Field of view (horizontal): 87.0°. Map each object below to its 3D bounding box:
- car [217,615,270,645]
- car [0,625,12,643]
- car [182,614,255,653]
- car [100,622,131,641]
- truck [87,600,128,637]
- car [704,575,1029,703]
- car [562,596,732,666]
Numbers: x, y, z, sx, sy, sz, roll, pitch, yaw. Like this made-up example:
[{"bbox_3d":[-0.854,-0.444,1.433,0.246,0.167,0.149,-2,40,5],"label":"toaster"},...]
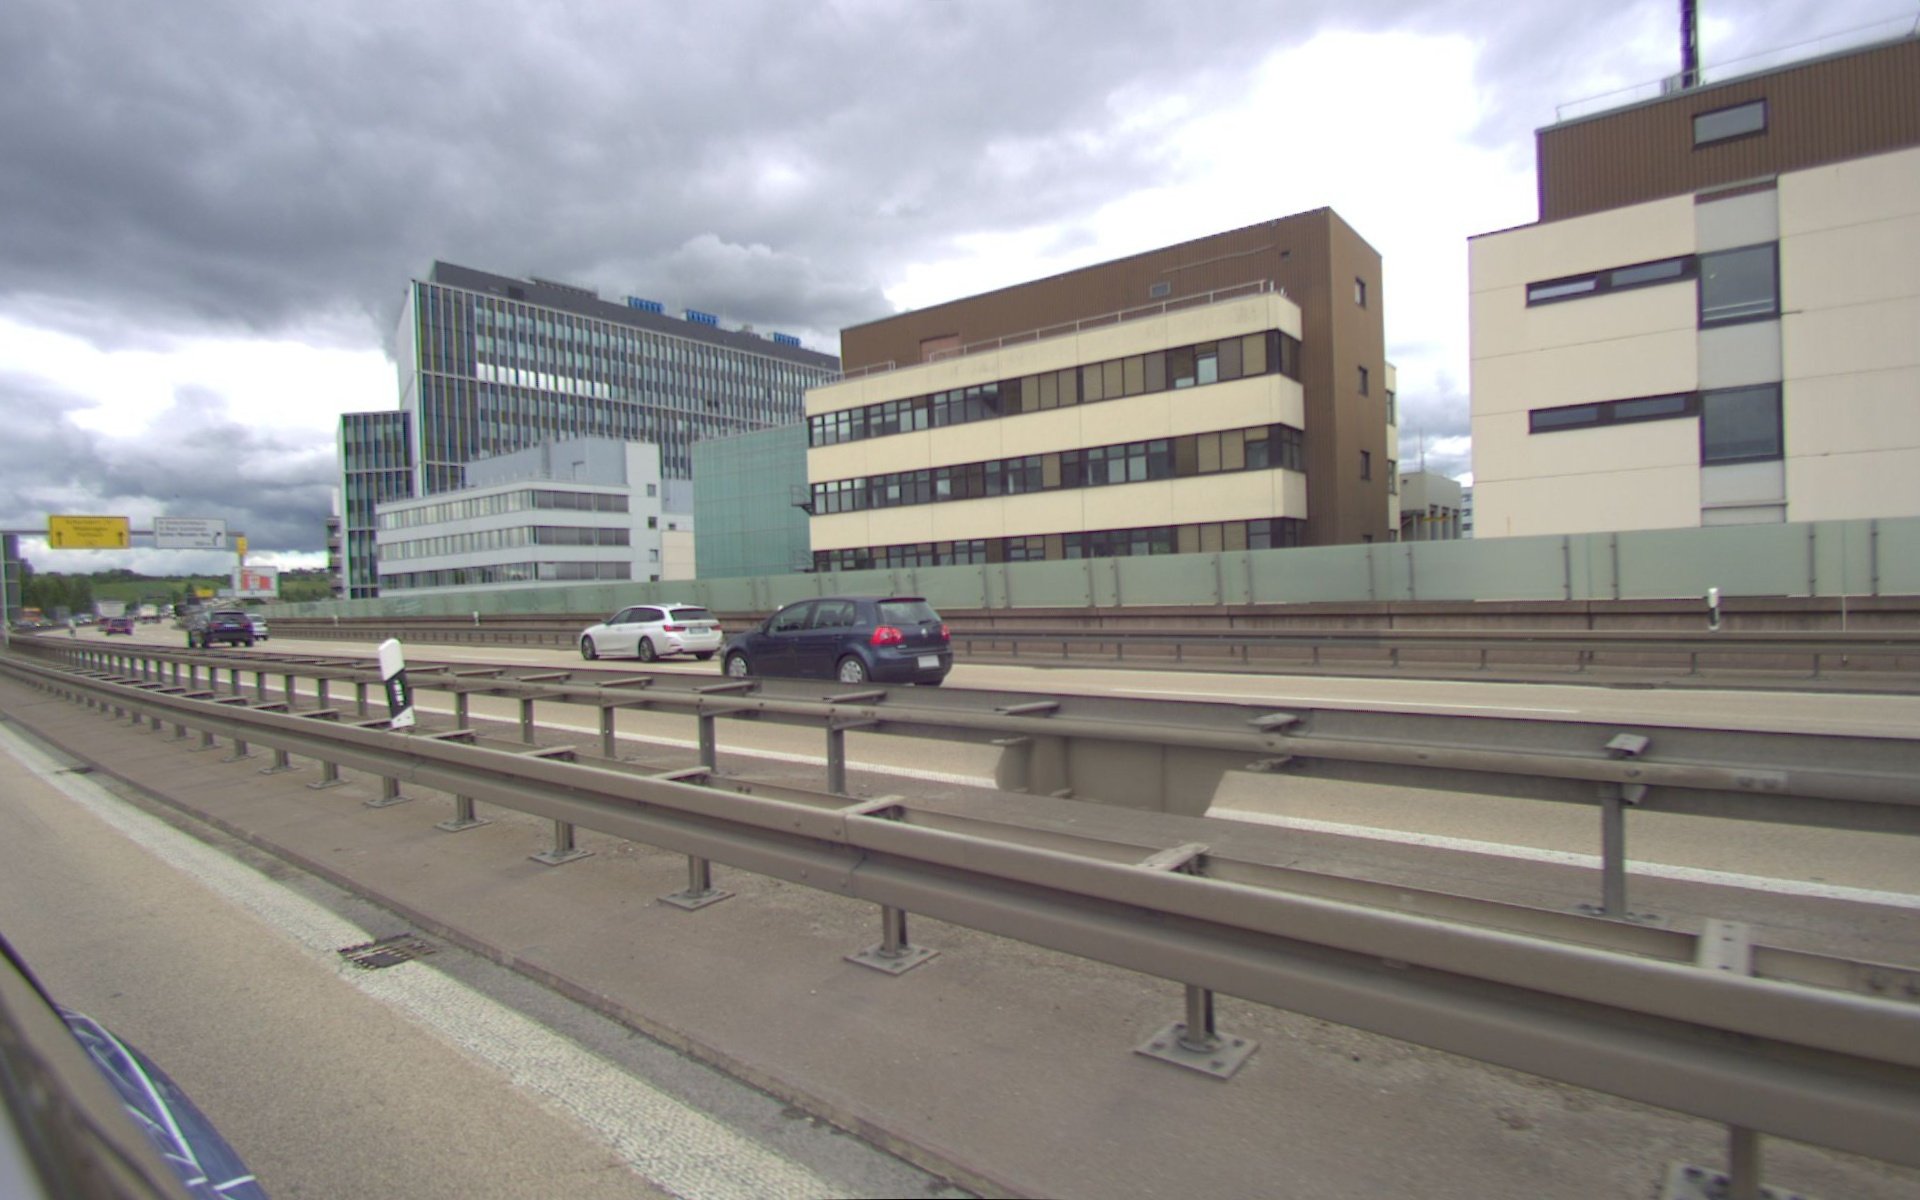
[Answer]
[{"bbox_3d":[-40.223,1.697,56.781,3.684,1.609,1.665,-2,-1,42],"label":"car"},{"bbox_3d":[-113.505,4.017,119.579,1.968,2.029,4.007,-1,0,-40],"label":"car"},{"bbox_3d":[-33.091,1.483,45.105,4.813,1.631,1.735,-2,-1,42],"label":"car"},{"bbox_3d":[-69.926,2.621,83.753,1.733,1.494,4.095,0,-1,-43],"label":"car"},{"bbox_3d":[-95.999,2.114,113.869,3.222,3.887,13.071,-2,0,-41],"label":"truck"},{"bbox_3d":[-1.522,0.548,15.183,4.808,1.623,2.003,-2,-1,38],"label":"car"},{"bbox_3d":[-8.097,0.771,25.942,4.811,1.623,1.898,-2,-1,41],"label":"car"}]
